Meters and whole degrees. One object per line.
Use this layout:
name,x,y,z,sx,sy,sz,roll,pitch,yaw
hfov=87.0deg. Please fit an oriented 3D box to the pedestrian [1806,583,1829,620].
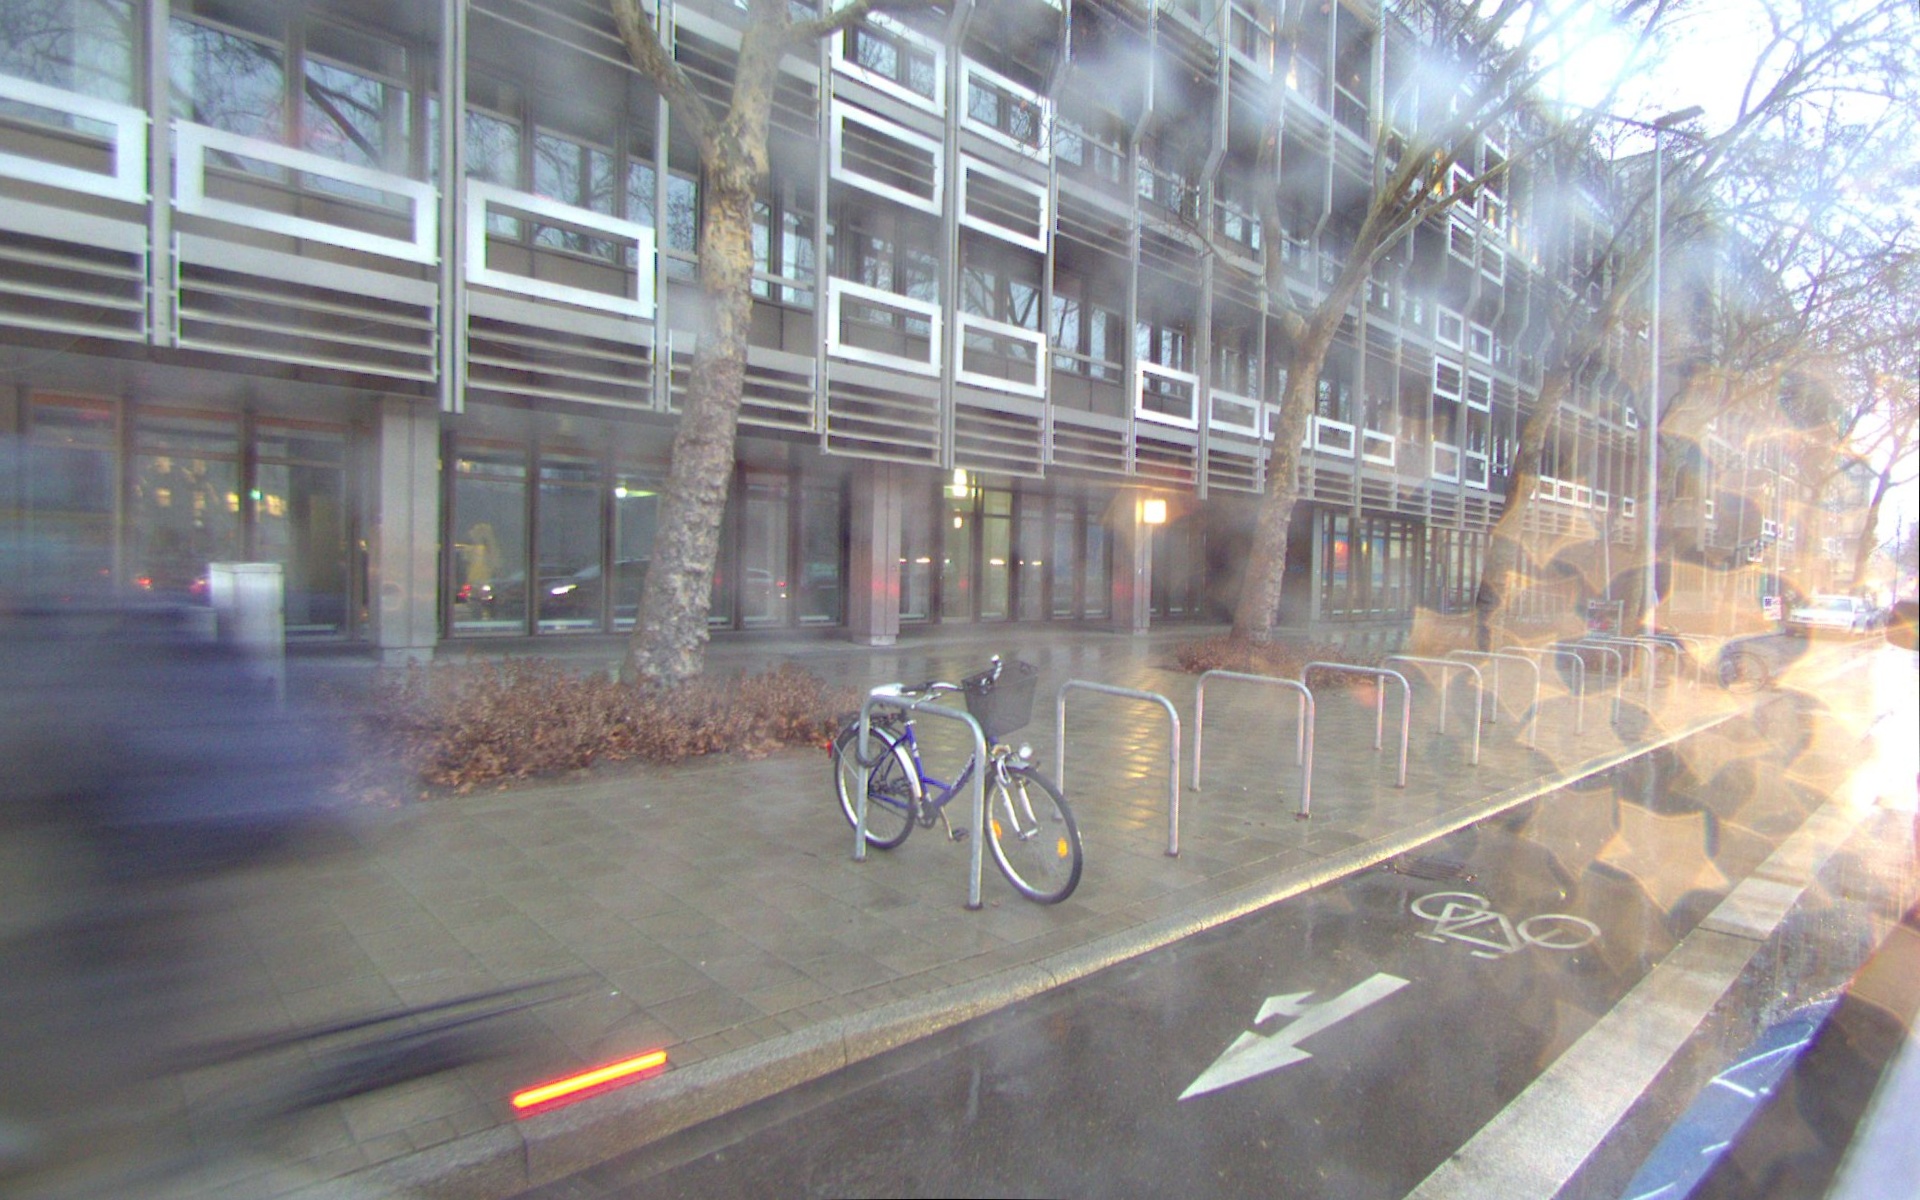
pedestrian,41.940,0.074,49.484,0.765,1.771,0.913,2,2,45

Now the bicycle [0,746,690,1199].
bicycle,-1.338,0.872,1.348,1.752,1.108,0.709,1,0,-41

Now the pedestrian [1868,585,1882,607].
pedestrian,73.458,-0.317,81.247,0.765,1.771,0.913,2,2,45

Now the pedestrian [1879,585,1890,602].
pedestrian,96.728,-0.722,105.839,0.765,1.771,0.913,2,2,45

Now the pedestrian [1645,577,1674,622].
pedestrian,28.309,-0.018,40.967,0.765,1.771,0.913,2,2,45

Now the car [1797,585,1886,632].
car,29.480,0.249,33.803,3.930,1.482,1.711,-1,1,-41

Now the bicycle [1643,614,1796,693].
bicycle,11.704,0.792,15.635,0.864,1.004,1.704,0,4,-41

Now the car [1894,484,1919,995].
car,5.509,0.491,4.413,3.934,1.864,1.875,-1,0,-44

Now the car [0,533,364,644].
car,-10.690,-0.196,14.035,3.929,1.326,1.998,0,3,-40

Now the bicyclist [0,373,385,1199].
bicyclist,-1.366,0.582,1.314,0.947,1.681,0.704,1,1,-41

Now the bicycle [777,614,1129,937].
bicycle,-0.120,0.712,4.885,0.629,1.145,1.810,2,2,-41
